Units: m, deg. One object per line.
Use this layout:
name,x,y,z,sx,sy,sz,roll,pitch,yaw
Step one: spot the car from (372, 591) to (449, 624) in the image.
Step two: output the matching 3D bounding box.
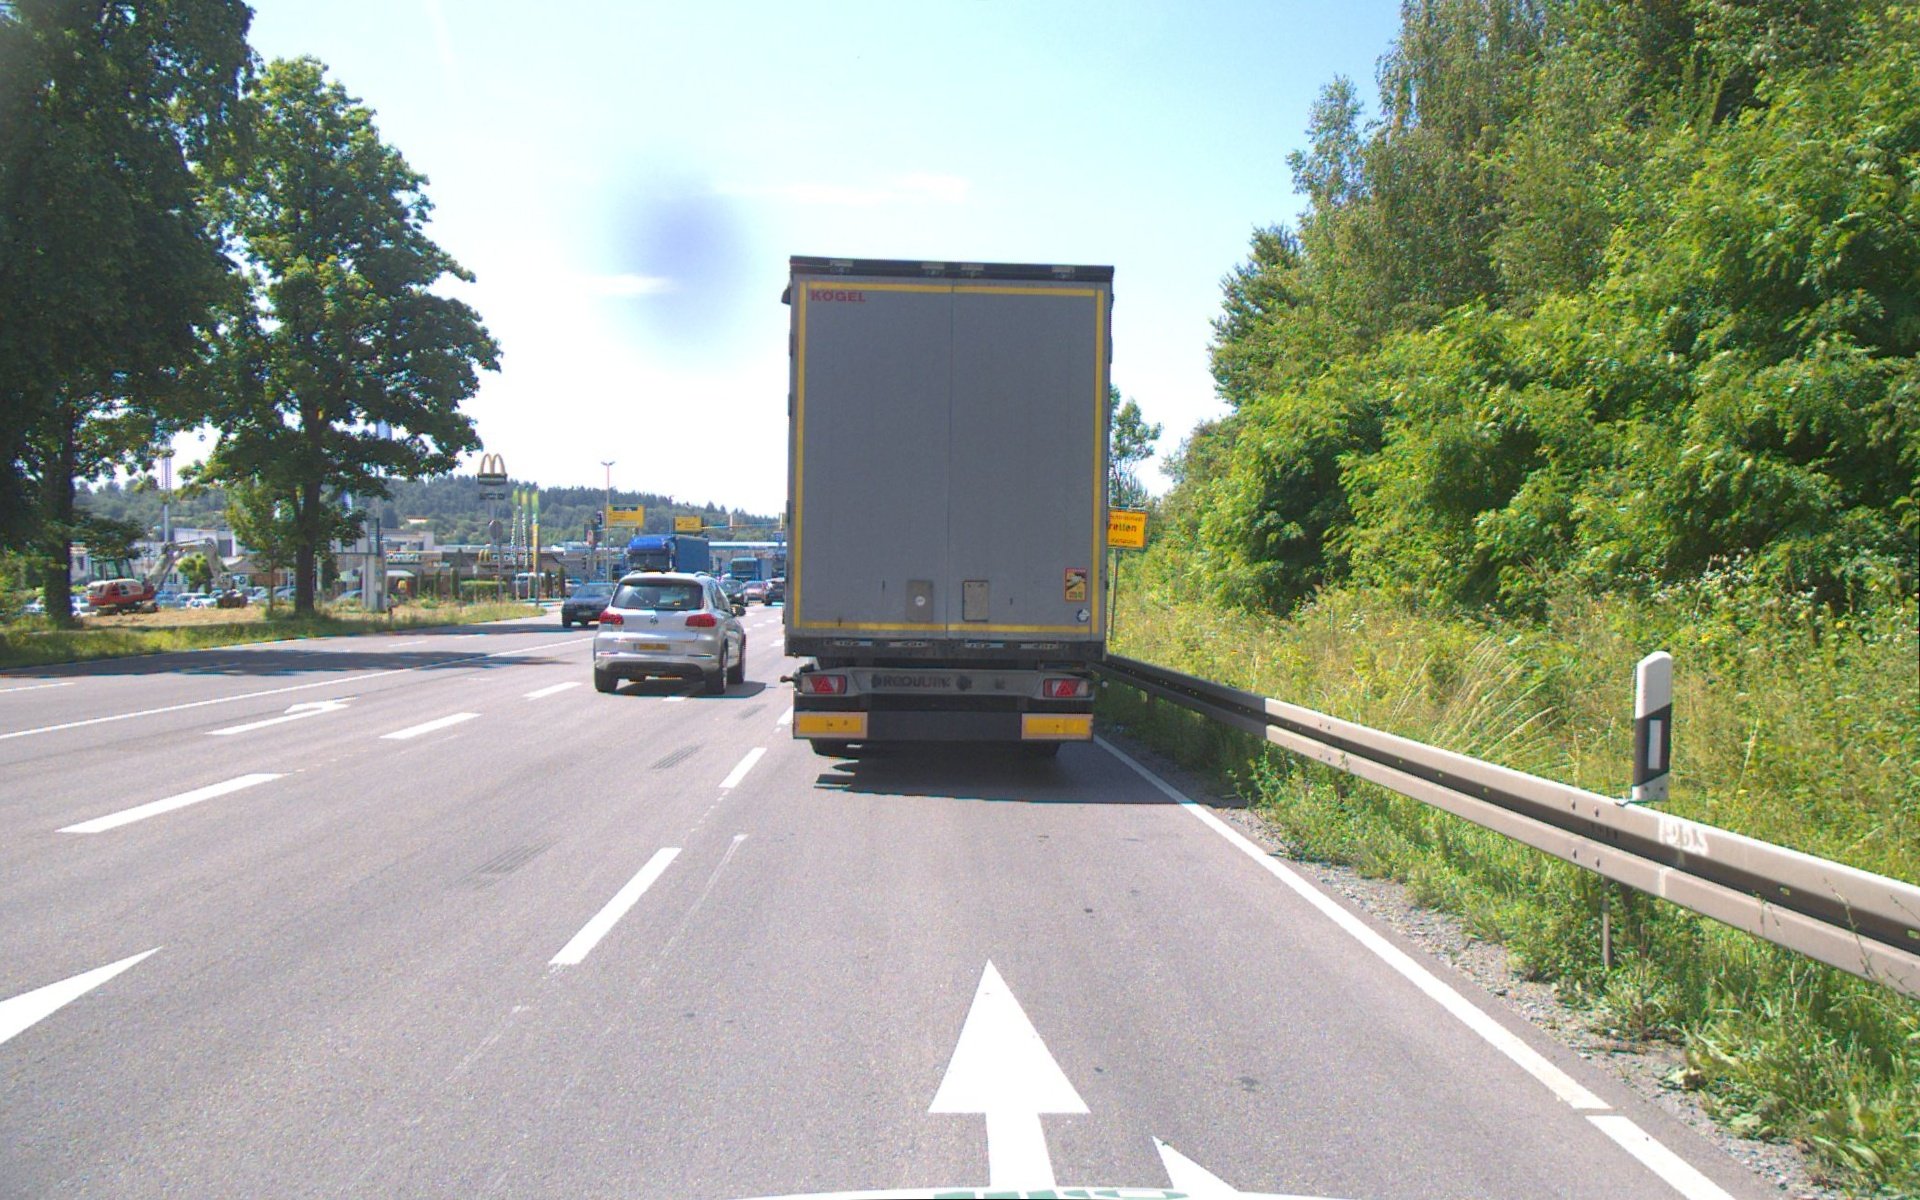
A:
car,-28.302,0.363,85.170,3.920,1.646,1.833,1,0,36

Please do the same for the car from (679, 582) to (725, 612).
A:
car,-12.968,-0.170,83.254,1.607,1.463,4.017,0,1,1

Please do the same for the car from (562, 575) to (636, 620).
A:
car,-12.086,-0.062,55.561,1.731,1.410,3.998,1,0,-3

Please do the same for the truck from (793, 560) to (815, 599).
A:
truck,-19.862,-2.519,210.153,2.490,4.708,10.816,1,0,-7

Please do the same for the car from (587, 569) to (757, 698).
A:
car,-4.147,0.431,24.441,1.768,1.699,4.291,1,0,-1

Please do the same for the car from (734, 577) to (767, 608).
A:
car,-13.919,-0.495,110.070,1.737,2.049,3.999,0,0,-1

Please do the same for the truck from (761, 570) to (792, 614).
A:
truck,-19.578,-0.888,175.595,3.086,4.425,17.515,0,0,-7

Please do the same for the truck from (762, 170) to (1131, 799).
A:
truck,-0.208,-0.822,20.899,2.699,4.720,16.651,1,0,-1

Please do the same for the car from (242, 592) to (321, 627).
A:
car,-33.416,0.431,81.443,3.920,1.646,1.833,1,0,36

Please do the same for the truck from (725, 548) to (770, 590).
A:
truck,-17.972,-2.582,140.374,2.789,3.410,11.476,0,0,-3

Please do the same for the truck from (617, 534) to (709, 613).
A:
truck,-17.146,-1.487,96.822,2.908,4.249,16.569,0,0,-2

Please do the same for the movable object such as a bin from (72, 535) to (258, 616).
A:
movable object such as a bin,-34.554,-1.057,72.080,2.994,3.356,6.760,0,1,38

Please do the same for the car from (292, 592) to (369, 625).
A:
car,-31.877,0.416,83.738,3.920,1.646,1.833,1,0,36

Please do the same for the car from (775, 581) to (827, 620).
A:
car,-6.075,0.019,63.620,1.652,1.423,4.402,0,0,-1

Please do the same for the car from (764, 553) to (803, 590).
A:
car,-10.577,-1.677,99.319,1.953,2.049,3.999,1,0,-1

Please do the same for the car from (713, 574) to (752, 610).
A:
car,-13.360,-0.467,97.296,1.737,2.049,3.999,0,0,-1

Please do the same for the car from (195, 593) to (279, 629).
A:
car,-34.732,0.518,79.442,3.920,1.680,1.993,1,0,36
